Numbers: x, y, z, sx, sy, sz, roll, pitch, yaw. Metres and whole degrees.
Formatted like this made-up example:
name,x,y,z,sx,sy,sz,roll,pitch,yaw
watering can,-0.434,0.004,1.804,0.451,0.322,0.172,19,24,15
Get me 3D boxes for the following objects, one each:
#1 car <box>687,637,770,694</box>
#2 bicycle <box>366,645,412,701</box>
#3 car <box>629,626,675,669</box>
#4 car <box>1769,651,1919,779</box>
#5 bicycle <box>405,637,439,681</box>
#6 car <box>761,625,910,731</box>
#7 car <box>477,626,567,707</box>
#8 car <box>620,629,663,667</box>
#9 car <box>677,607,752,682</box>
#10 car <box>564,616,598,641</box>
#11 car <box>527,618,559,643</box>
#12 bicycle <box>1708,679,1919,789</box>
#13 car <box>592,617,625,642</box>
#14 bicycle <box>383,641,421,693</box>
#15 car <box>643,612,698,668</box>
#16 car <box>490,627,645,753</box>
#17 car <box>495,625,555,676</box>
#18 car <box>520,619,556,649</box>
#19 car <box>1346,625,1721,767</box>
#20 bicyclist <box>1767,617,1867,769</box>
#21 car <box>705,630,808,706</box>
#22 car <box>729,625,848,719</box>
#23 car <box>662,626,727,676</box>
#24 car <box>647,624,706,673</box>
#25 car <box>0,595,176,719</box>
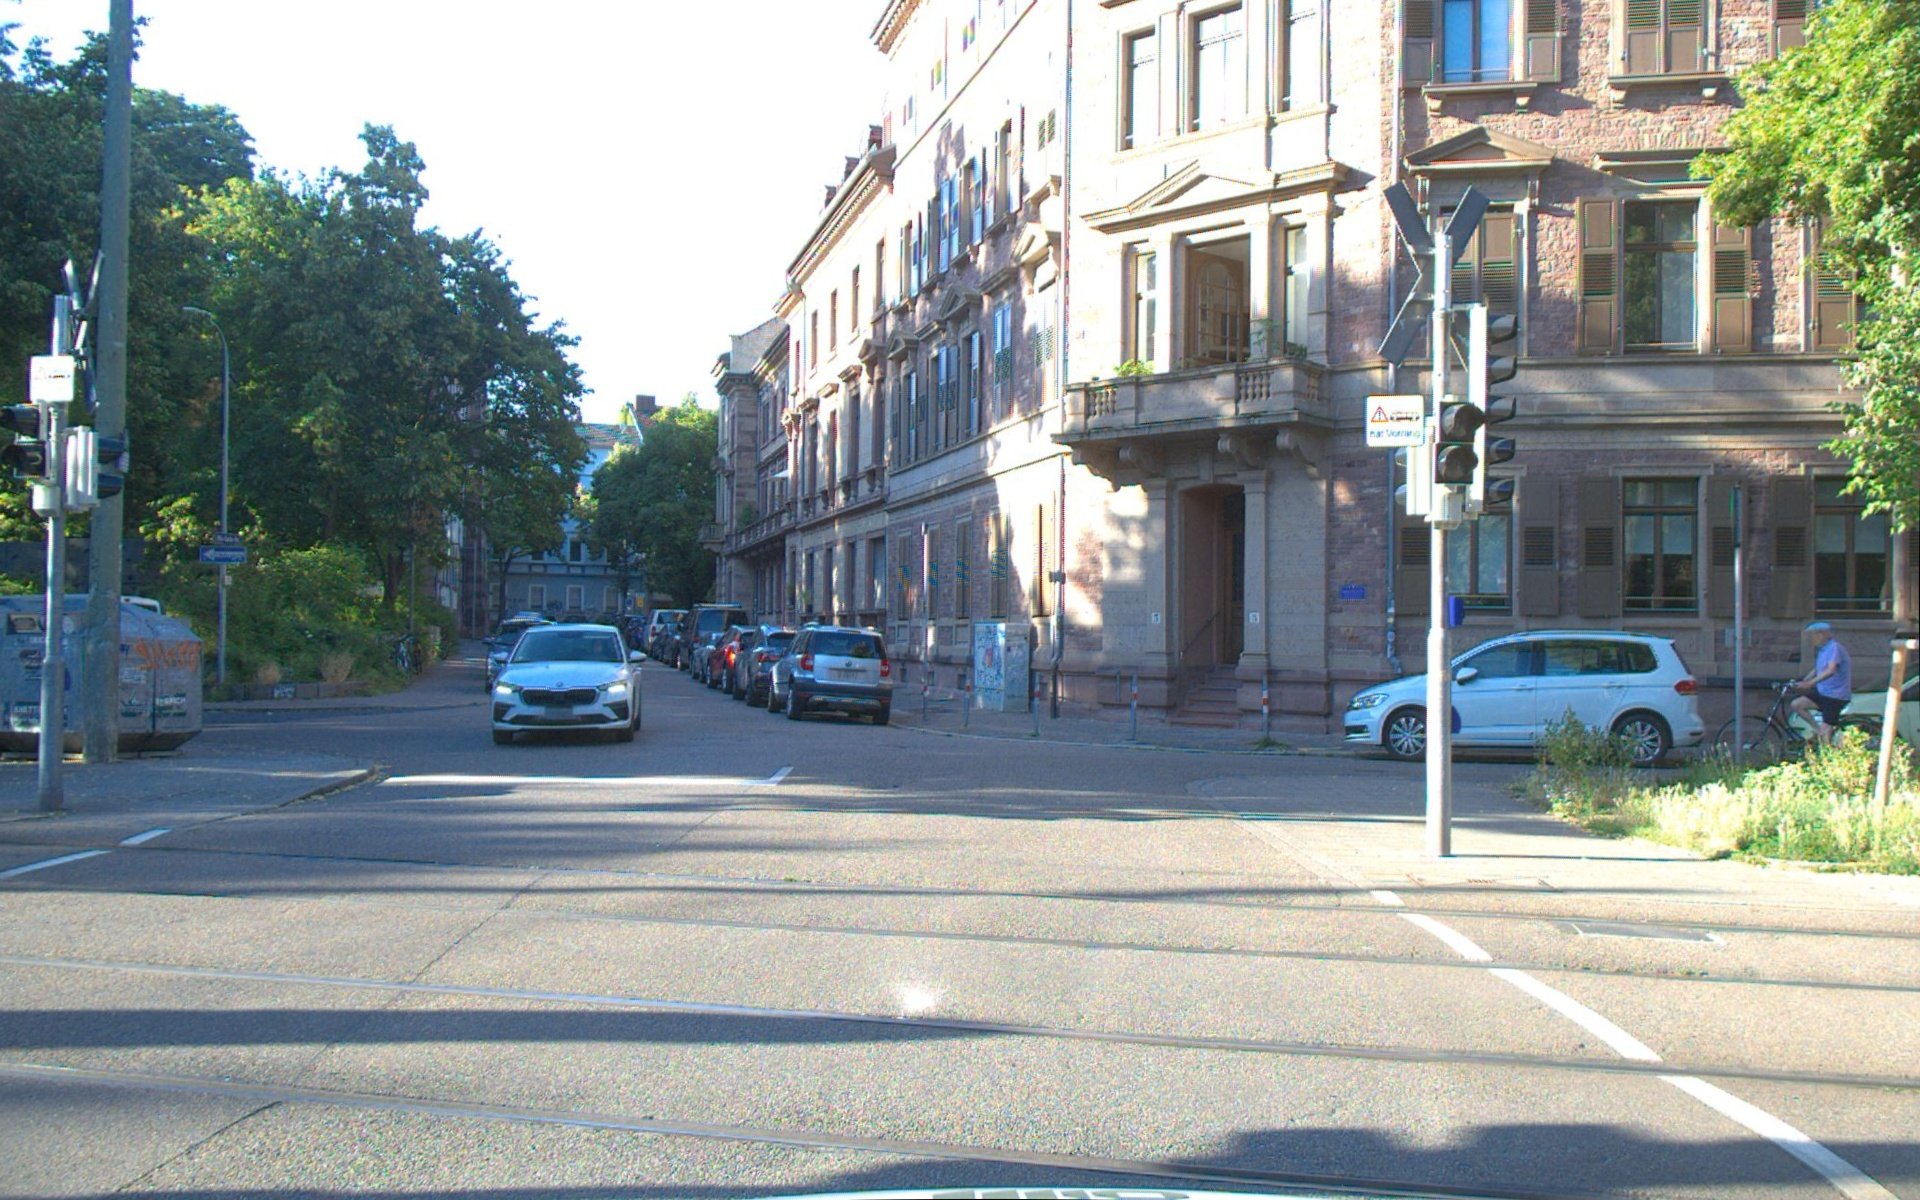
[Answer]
name,x,y,z,sx,sy,sz,roll,pitch,yaw
car,-6.353,1.766,45.117,1.767,1.369,3.940,4,-2,-14
bicycle,-12.165,1.530,35.270,0.586,1.121,2.619,1,-1,-12
car,-14.565,2.240,78.024,1.767,1.871,3.940,4,-2,-14
car,12.310,1.458,20.640,3.633,1.516,1.743,1,-4,10
bicycle,-14.370,1.569,44.204,0.586,1.121,2.618,1,-1,-13
car,-2.340,1.377,29.977,1.884,1.686,4.170,4,-3,-15
car,-10.008,1.478,38.004,1.795,1.643,4.275,4,-2,-14
car,-16.036,2.394,83.176,1.767,1.758,3.940,4,-2,-14
car,-7.539,1.356,50.607,1.767,2.109,3.940,4,-2,-14
car,-28.877,2.211,125.951,1.964,1.714,3.976,3,-4,-20
car,-31.423,2.322,124.565,1.964,1.714,3.976,3,-4,-20
bicycle,9.473,1.463,18.335,2.073,1.073,0.701,2,-1,19
car,-26.964,2.286,126.769,1.964,1.714,3.976,3,-4,-20
bicycle,-12.772,1.522,37.912,0.586,1.121,2.617,1,-1,-14
car,-11.738,1.594,66.918,1.767,2.109,3.940,4,-2,-14
car,-5.085,1.120,21.852,1.671,1.482,4.053,1,-1,-9
car,-14.696,1.694,56.043,1.795,1.526,3.916,4,-2,-14
car,-23.561,1.879,92.363,1.795,1.526,3.916,4,-2,-14
car,7.310,1.239,21.528,4.387,1.679,1.876,1,-4,12
bicyclist,9.491,1.019,18.348,0.853,1.616,0.701,2,-2,19
car,-4.957,1.601,39.861,1.769,1.642,3.937,4,-2,-16
car,-3.684,1.461,34.798,1.795,1.754,4.526,4,-2,-14
car,-9.015,1.700,55.910,1.767,1.550,3.940,4,-2,-14
car,-10.534,1.784,61.343,1.767,1.651,3.940,4,-2,-14
car,-16.294,0.950,28.710,4.545,2.038,1.952,0,-1,11
